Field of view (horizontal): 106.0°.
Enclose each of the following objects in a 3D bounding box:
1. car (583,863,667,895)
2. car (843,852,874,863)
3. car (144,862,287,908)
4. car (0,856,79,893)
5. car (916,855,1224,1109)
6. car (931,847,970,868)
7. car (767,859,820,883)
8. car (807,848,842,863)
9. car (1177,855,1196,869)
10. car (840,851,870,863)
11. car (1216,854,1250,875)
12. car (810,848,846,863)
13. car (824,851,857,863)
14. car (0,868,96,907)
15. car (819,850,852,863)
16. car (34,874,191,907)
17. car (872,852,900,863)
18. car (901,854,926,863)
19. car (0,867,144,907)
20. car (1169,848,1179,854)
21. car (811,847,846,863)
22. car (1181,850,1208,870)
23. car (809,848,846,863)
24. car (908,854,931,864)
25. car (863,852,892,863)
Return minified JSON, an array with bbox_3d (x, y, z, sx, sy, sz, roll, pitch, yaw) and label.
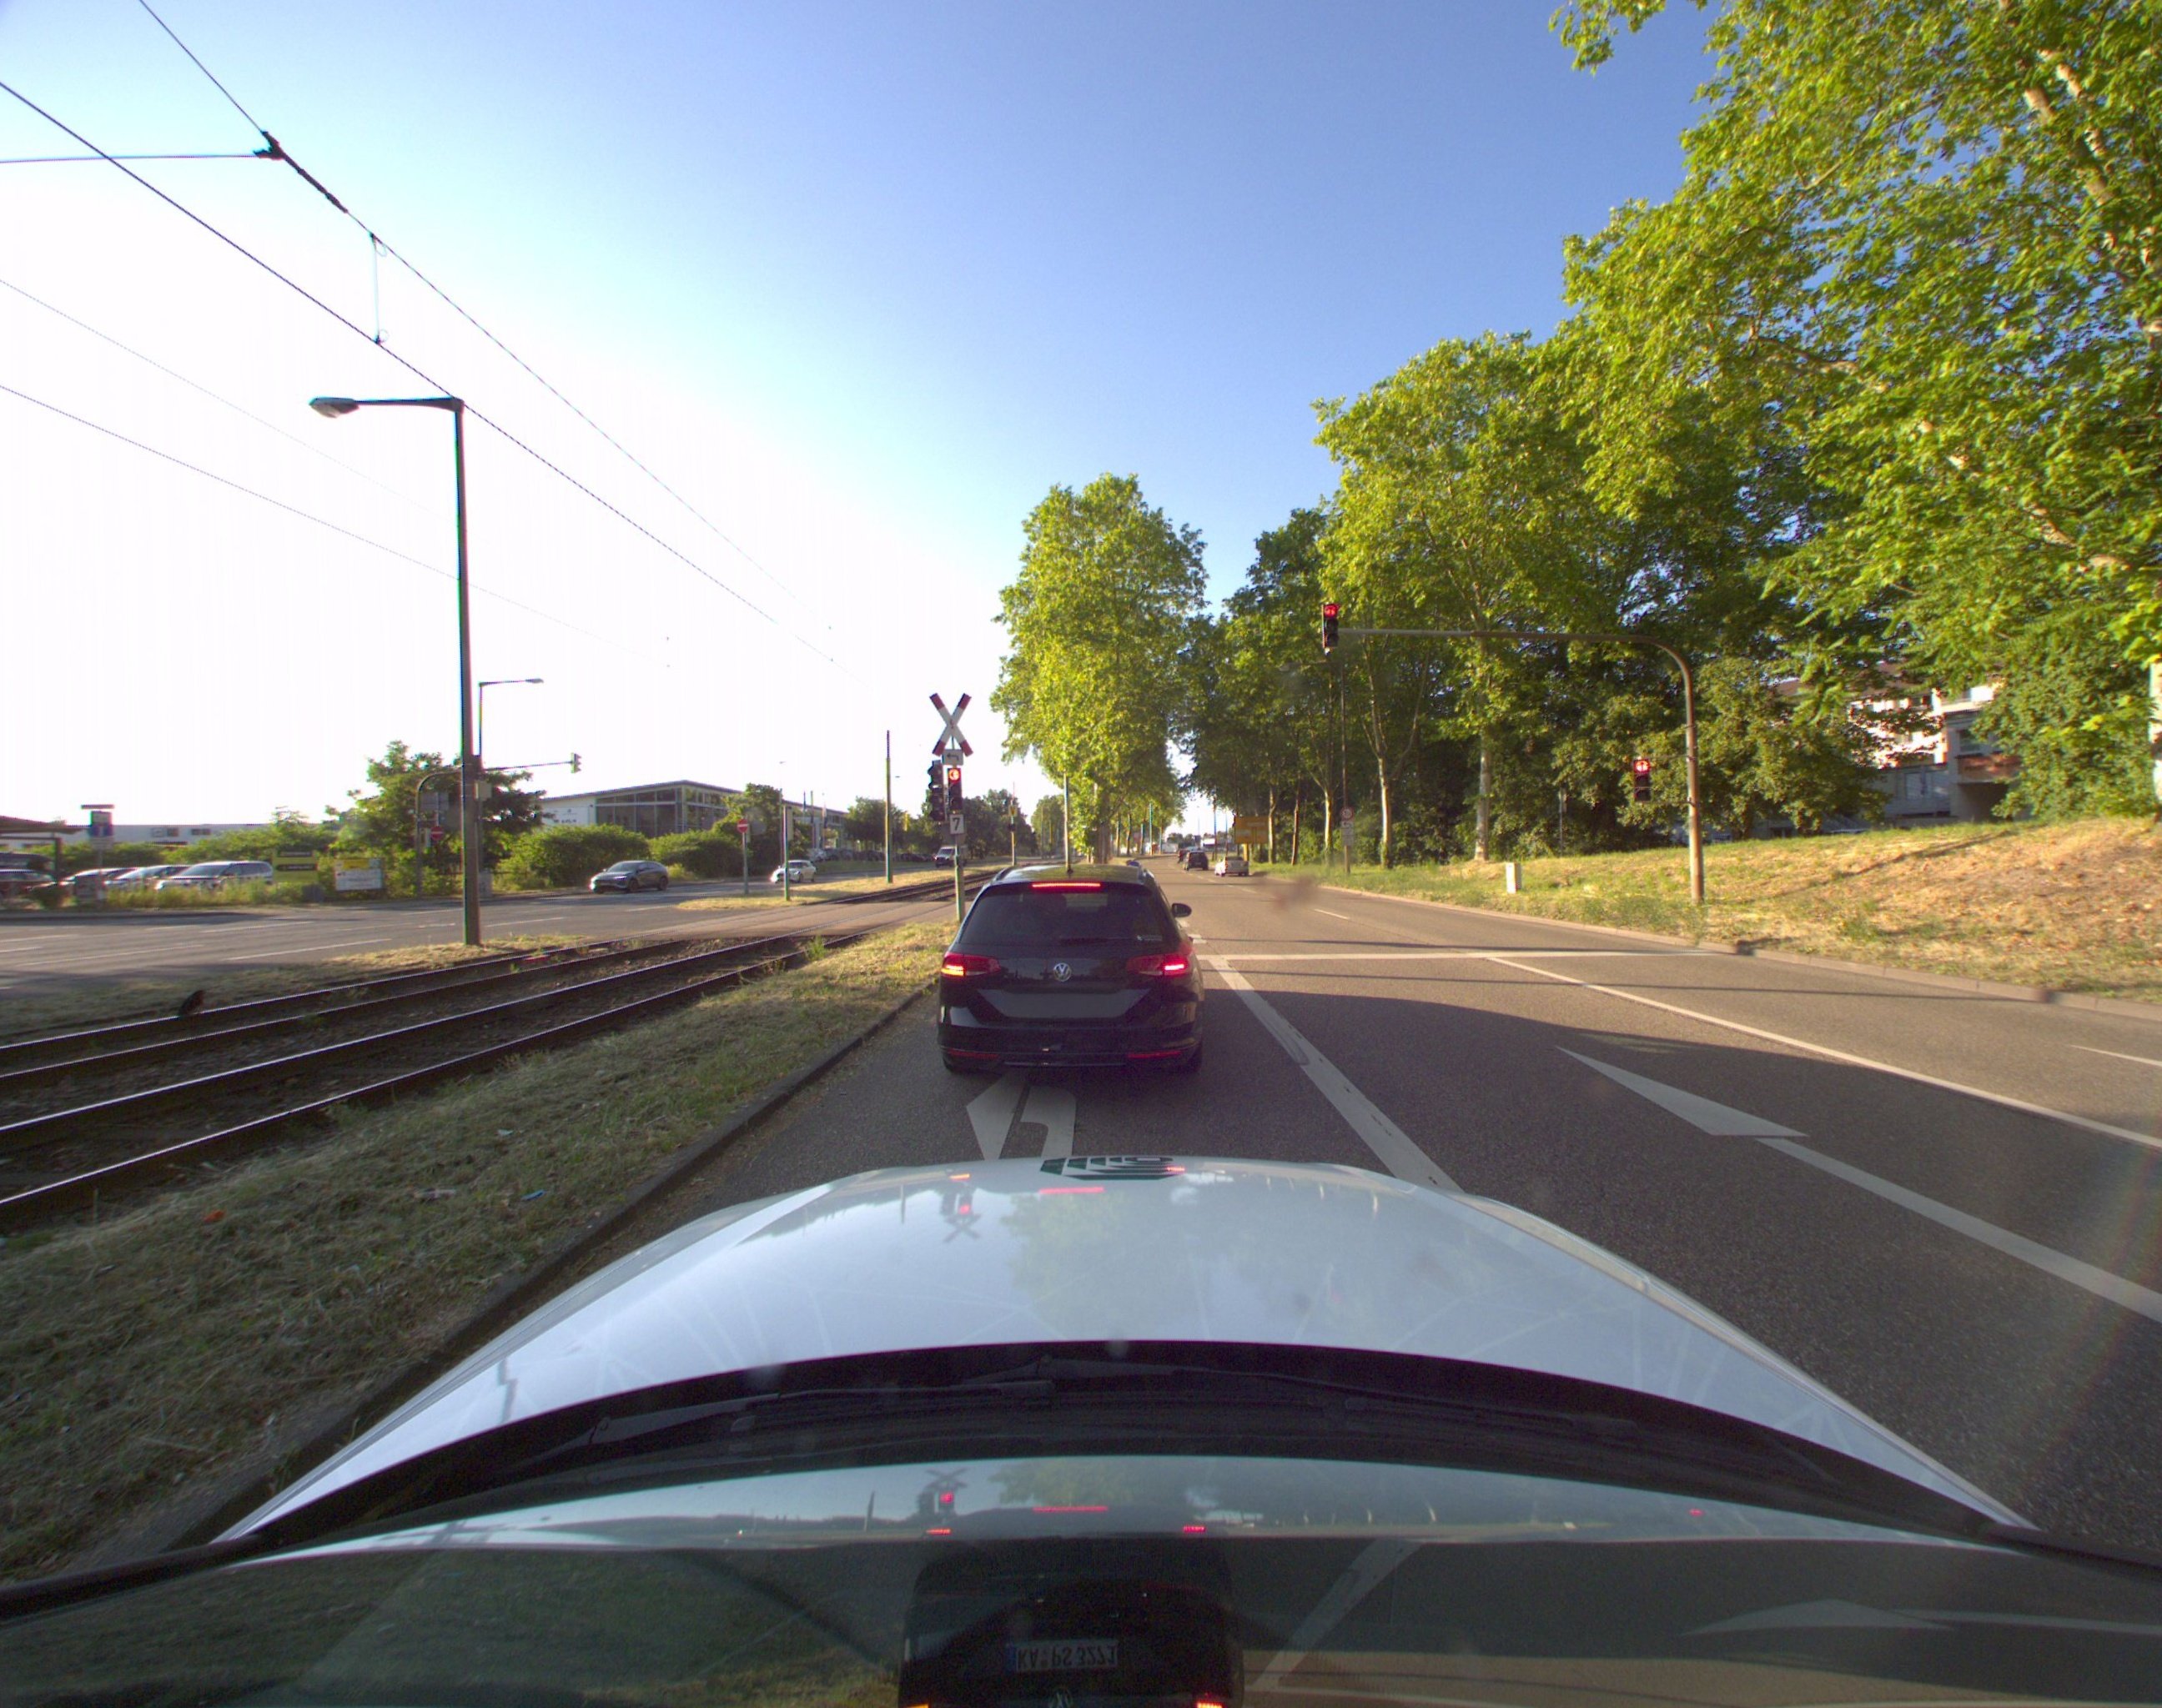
[{"bbox_3d":[-23.846,1.271,42.754,1.854,1.481,4.176,0,0,3],"label":"car"},{"bbox_3d":[-31.442,0.482,115.319,3.983,1.556,1.739,-1,0,-7],"label":"car"},{"bbox_3d":[-38.525,1.327,36.416,1.855,1.821,4.174,0,0,2],"label":"car"},{"bbox_3d":[-60.424,1.159,45.909,1.855,2.014,4.773,0,0,2],"label":"car"},{"bbox_3d":[-0.019,0.750,6.529,1.788,1.464,3.584,0,0,1],"label":"car"},{"bbox_3d":[-15.525,0.411,97.379,2.078,2.461,5.881,0,0,20],"label":"car"},{"bbox_3d":[-19.062,1.122,54.148,1.854,1.481,4.095,0,0,3],"label":"car"},{"bbox_3d":[-31.650,0.137,100.524,3.999,1.816,1.732,-1,0,-19],"label":"car"},{"bbox_3d":[12.398,0.906,96.105,1.864,1.635,4.373,-1,0,3],"label":"car"},{"bbox_3d":[-31.233,0.444,112.612,3.999,1.556,1.732,-1,0,-19],"label":"car"},{"bbox_3d":[9.563,0.648,51.478,1.602,1.294,3.985,0,0,2],"label":"car"},{"bbox_3d":[-29.955,0.170,96.388,3.999,1.704,1.732,-1,0,-19],"label":"car"},{"bbox_3d":[-31.370,0.351,106.214,3.999,1.556,1.732,-1,0,-19],"label":"car"},{"bbox_3d":[-47.162,1.457,36.049,1.970,1.583,4.174,0,0,2],"label":"car"},{"bbox_3d":[-31.155,0.307,103.423,3.999,1.556,1.732,-1,0,-19],"label":"car"},{"bbox_3d":[-42.473,1.568,35.894,1.855,1.267,4.174,0,0,2],"label":"car"},{"bbox_3d":[-30.124,0.596,125.953,3.978,1.621,1.742,-1,0,-3],"label":"car"},{"bbox_3d":[-28.770,0.775,139.676,3.978,1.621,1.742,-1,0,-3],"label":"car"},{"bbox_3d":[-44.712,1.409,35.897,1.855,1.583,4.174,0,0,2],"label":"car"},{"bbox_3d":[22.985,-0.647,200.482,1.987,1.420,3.999,-1,0,0],"label":"car"},{"bbox_3d":[-30.607,0.135,98.743,3.999,1.816,1.732,-1,0,-19],"label":"car"},{"bbox_3d":[9.107,0.476,65.603,1.701,1.561,4.167,-1,0,1],"label":"car"},{"bbox_3d":[-29.265,0.152,94.120,3.999,1.704,1.732,-1,0,-19],"label":"car"},{"bbox_3d":[-29.110,0.874,146.845,3.978,1.621,1.742,-1,0,-3],"label":"car"},{"bbox_3d":[-30.612,0.553,122.751,3.978,1.621,1.742,-1,0,-3],"label":"car"}]
